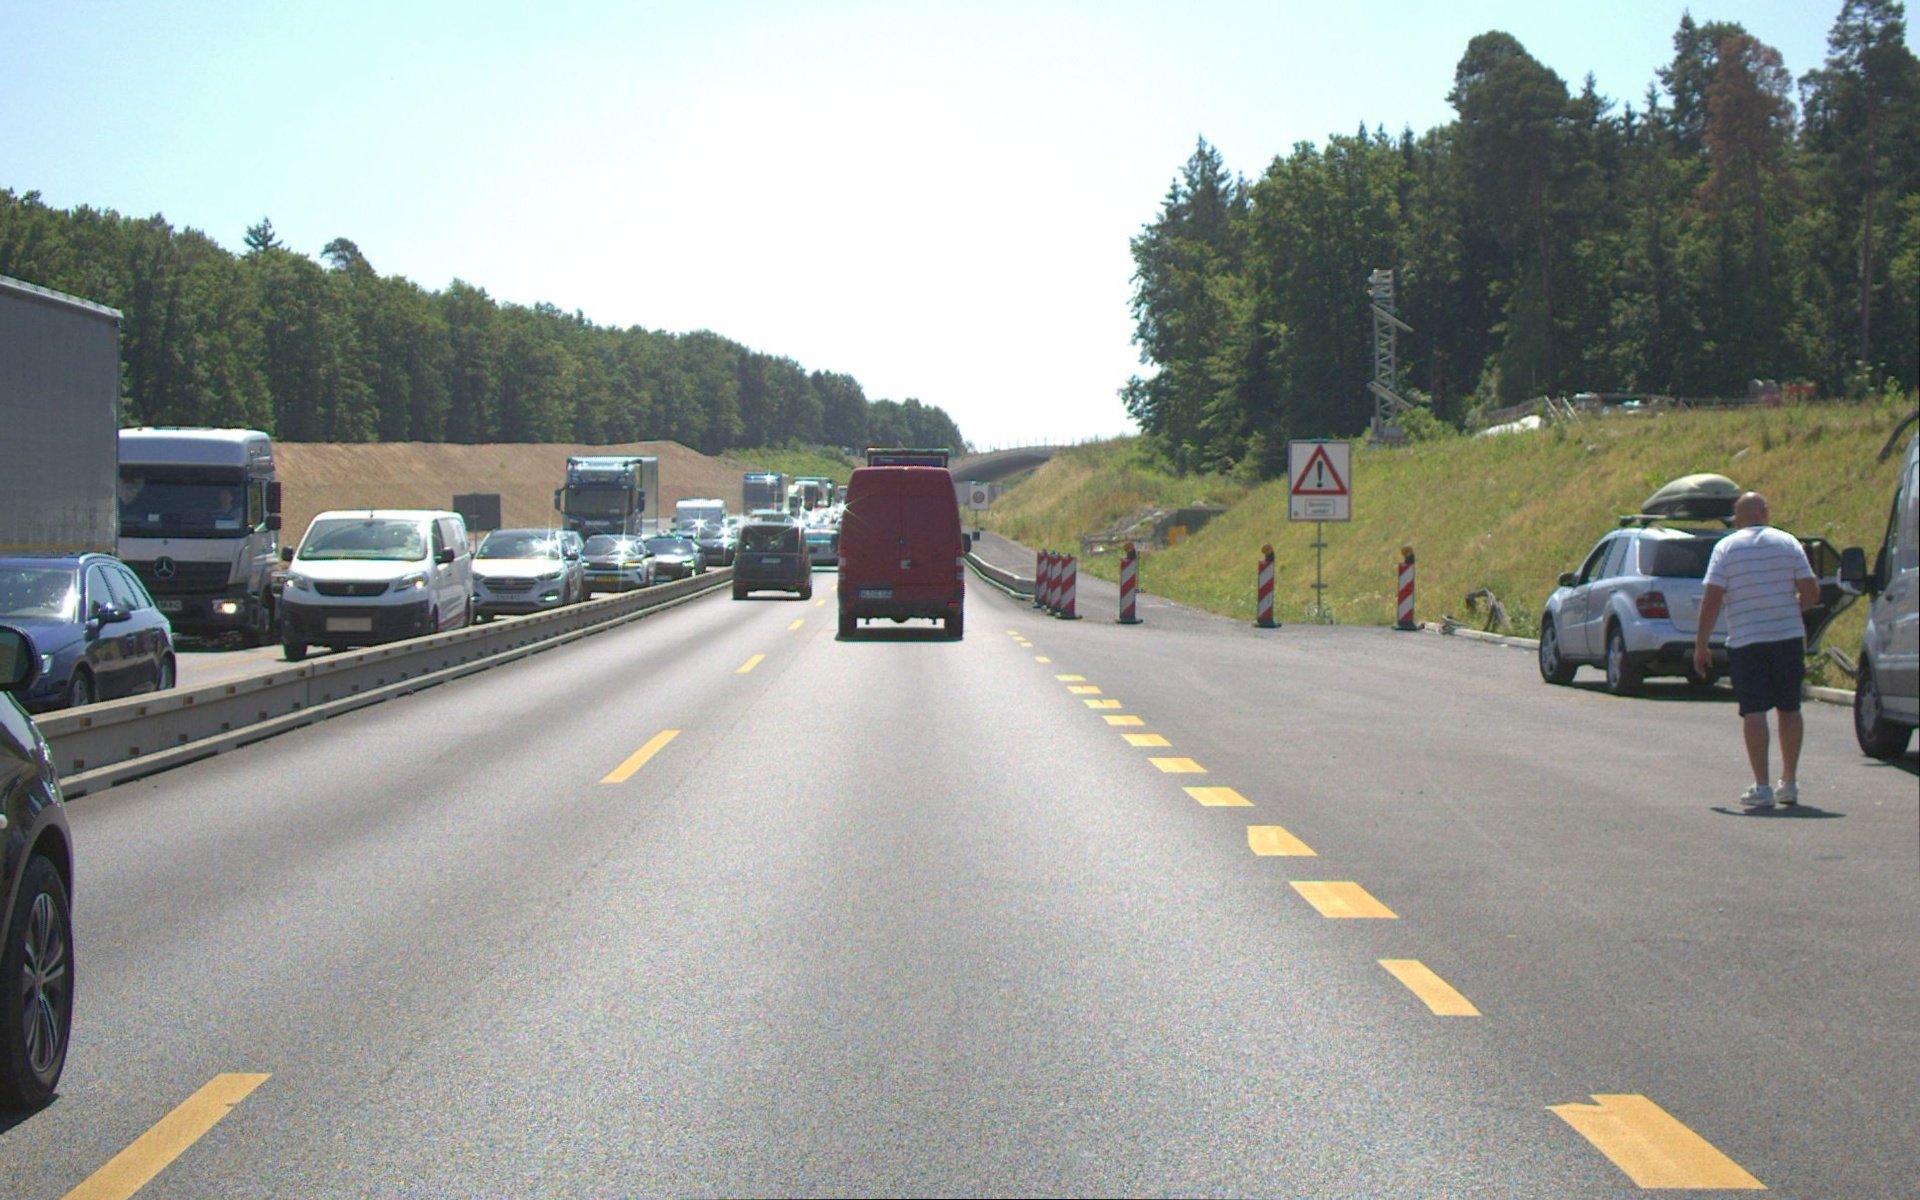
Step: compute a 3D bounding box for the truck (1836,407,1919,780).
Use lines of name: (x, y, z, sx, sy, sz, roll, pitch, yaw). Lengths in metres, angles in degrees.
truck: (7.456, -0.040, 23.195, 2.130, 2.448, 5.924, 1, 1, 6)

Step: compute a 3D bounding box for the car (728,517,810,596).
car: (-4.583, -1.056, 83.137, 1.751, 1.818, 4.783, 1, 1, -1)

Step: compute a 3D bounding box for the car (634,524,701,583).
car: (-8.300, -1.310, 97.735, 1.683, 1.590, 3.224, 1, 0, -1)

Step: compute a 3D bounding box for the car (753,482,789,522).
car: (-12.829, -6.651, 233.594, 2.385, 2.571, 4.000, 1, 0, -2)

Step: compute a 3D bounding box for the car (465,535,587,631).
car: (-7.693, -0.292, 61.256, 1.724, 1.625, 4.391, 1, 0, -2)

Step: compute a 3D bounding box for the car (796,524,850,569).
car: (-4.890, -1.901, 123.073, 1.831, 1.517, 3.961, 1, 0, -1)

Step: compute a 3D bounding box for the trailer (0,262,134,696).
trailer: (-10.362, -1.126, 30.847, 2.790, 4.061, 13.712, 1, 1, -1)

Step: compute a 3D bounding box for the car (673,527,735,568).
car: (-8.959, -1.828, 120.508, 1.841, 1.323, 3.942, 1, 0, 0)

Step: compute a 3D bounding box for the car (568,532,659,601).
car: (-8.028, -0.756, 79.917, 1.625, 1.552, 4.068, 1, 0, 1)

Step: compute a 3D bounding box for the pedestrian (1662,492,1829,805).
pedestrian: (4.669, 0.284, 20.470, 0.723, 1.822, 0.720, 1, 0, -9)

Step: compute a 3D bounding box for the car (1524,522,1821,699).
car: (7.477, 0.051, 36.572, 1.774, 1.671, 4.856, 1, 2, -4)

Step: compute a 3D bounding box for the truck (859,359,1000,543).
truck: (-1.075, -4.853, 117.193, 4.400, 5.477, 16.603, 1, 0, -1)

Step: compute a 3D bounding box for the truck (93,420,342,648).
truck: (-10.480, -0.888, 48.937, 2.398, 3.048, 5.062, 1, 0, 0)

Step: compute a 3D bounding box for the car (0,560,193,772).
car: (-6.834, 0.420, 24.714, 1.726, 1.382, 4.484, 1, 0, -2)

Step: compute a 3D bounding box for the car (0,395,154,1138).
car: (-3.298, 0.415, 7.413, 1.874, 1.845, 5.479, 1, 1, -1)

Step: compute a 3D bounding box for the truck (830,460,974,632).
truck: (-0.923, -0.821, 54.802, 2.153, 2.581, 5.333, 1, 0, -1)

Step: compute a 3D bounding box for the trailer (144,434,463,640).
trailer: (-10.527, -0.983, 56.960, 2.346, 2.922, 15.270, 1, 1, 0)

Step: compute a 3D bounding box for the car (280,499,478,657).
car: (-7.555, -0.275, 45.159, 1.825, 1.920, 5.264, 1, 0, -2)

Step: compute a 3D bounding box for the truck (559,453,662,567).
truck: (-11.865, -3.000, 117.408, 2.509, 3.605, 9.641, 1, 0, 0)
